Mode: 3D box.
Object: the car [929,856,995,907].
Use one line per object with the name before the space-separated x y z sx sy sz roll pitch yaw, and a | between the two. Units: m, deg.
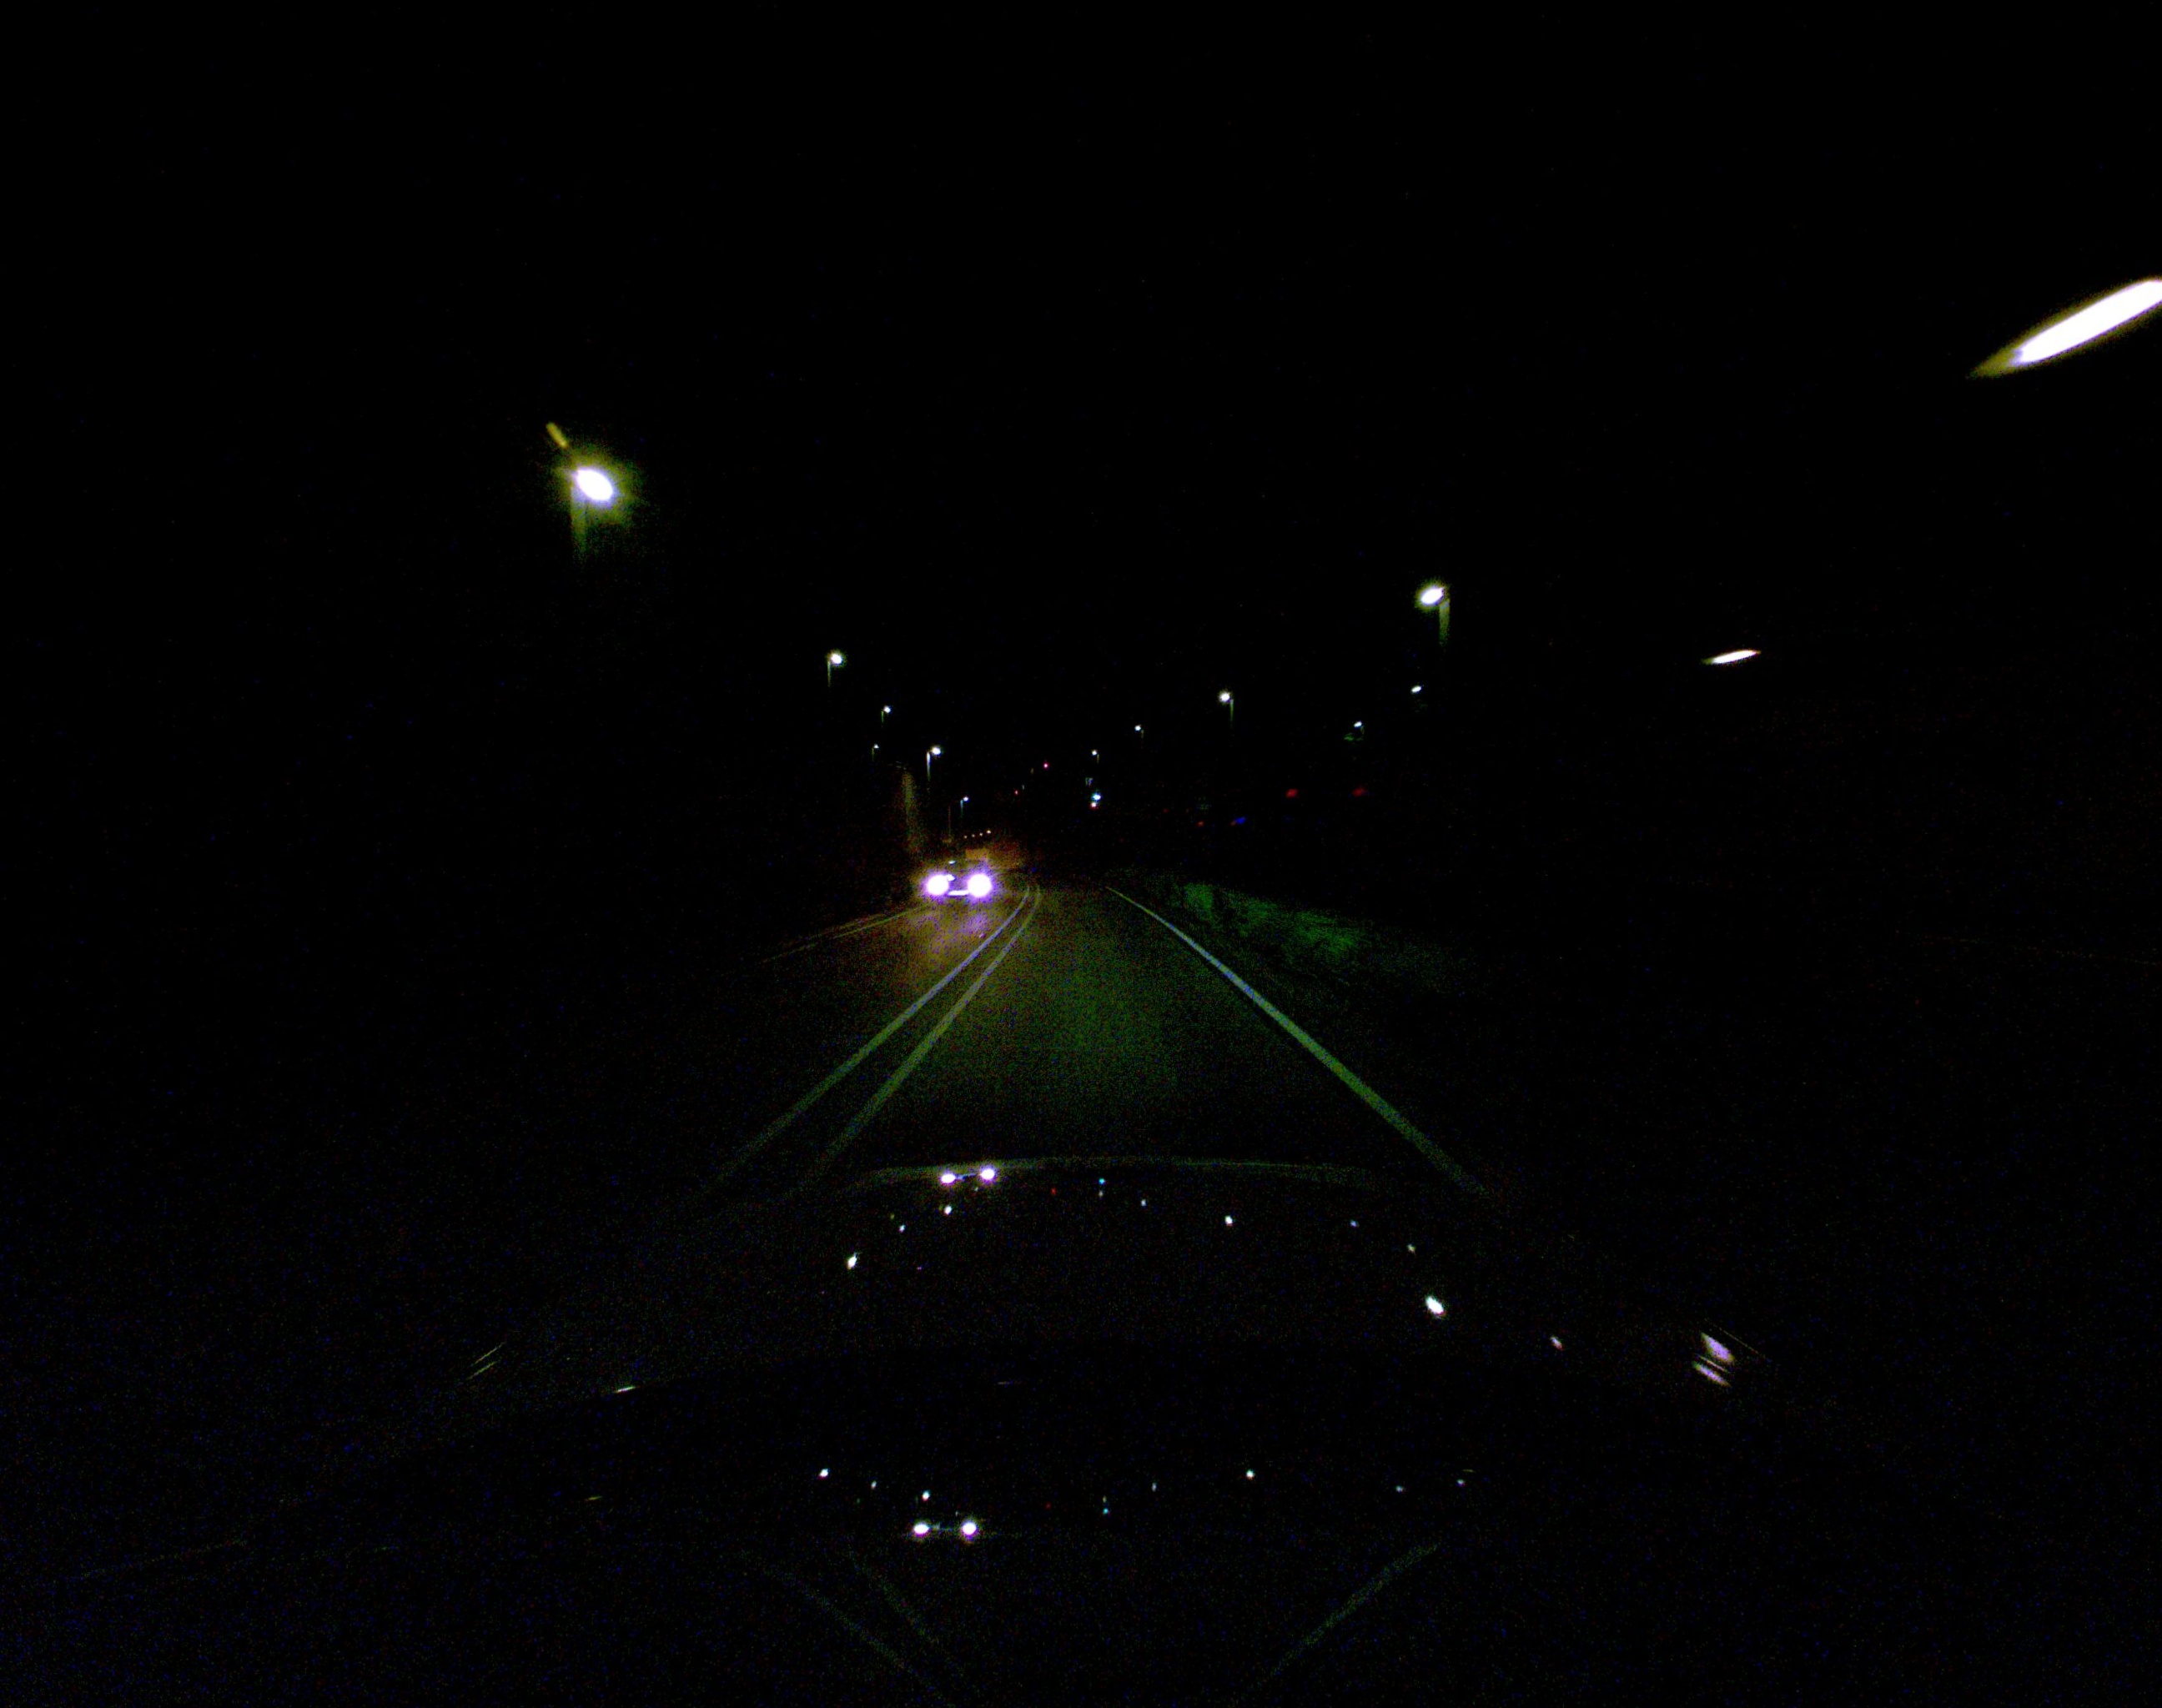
car | -3.830 0.853 26.706 1.855 1.510 3.993 -1 0 -5
